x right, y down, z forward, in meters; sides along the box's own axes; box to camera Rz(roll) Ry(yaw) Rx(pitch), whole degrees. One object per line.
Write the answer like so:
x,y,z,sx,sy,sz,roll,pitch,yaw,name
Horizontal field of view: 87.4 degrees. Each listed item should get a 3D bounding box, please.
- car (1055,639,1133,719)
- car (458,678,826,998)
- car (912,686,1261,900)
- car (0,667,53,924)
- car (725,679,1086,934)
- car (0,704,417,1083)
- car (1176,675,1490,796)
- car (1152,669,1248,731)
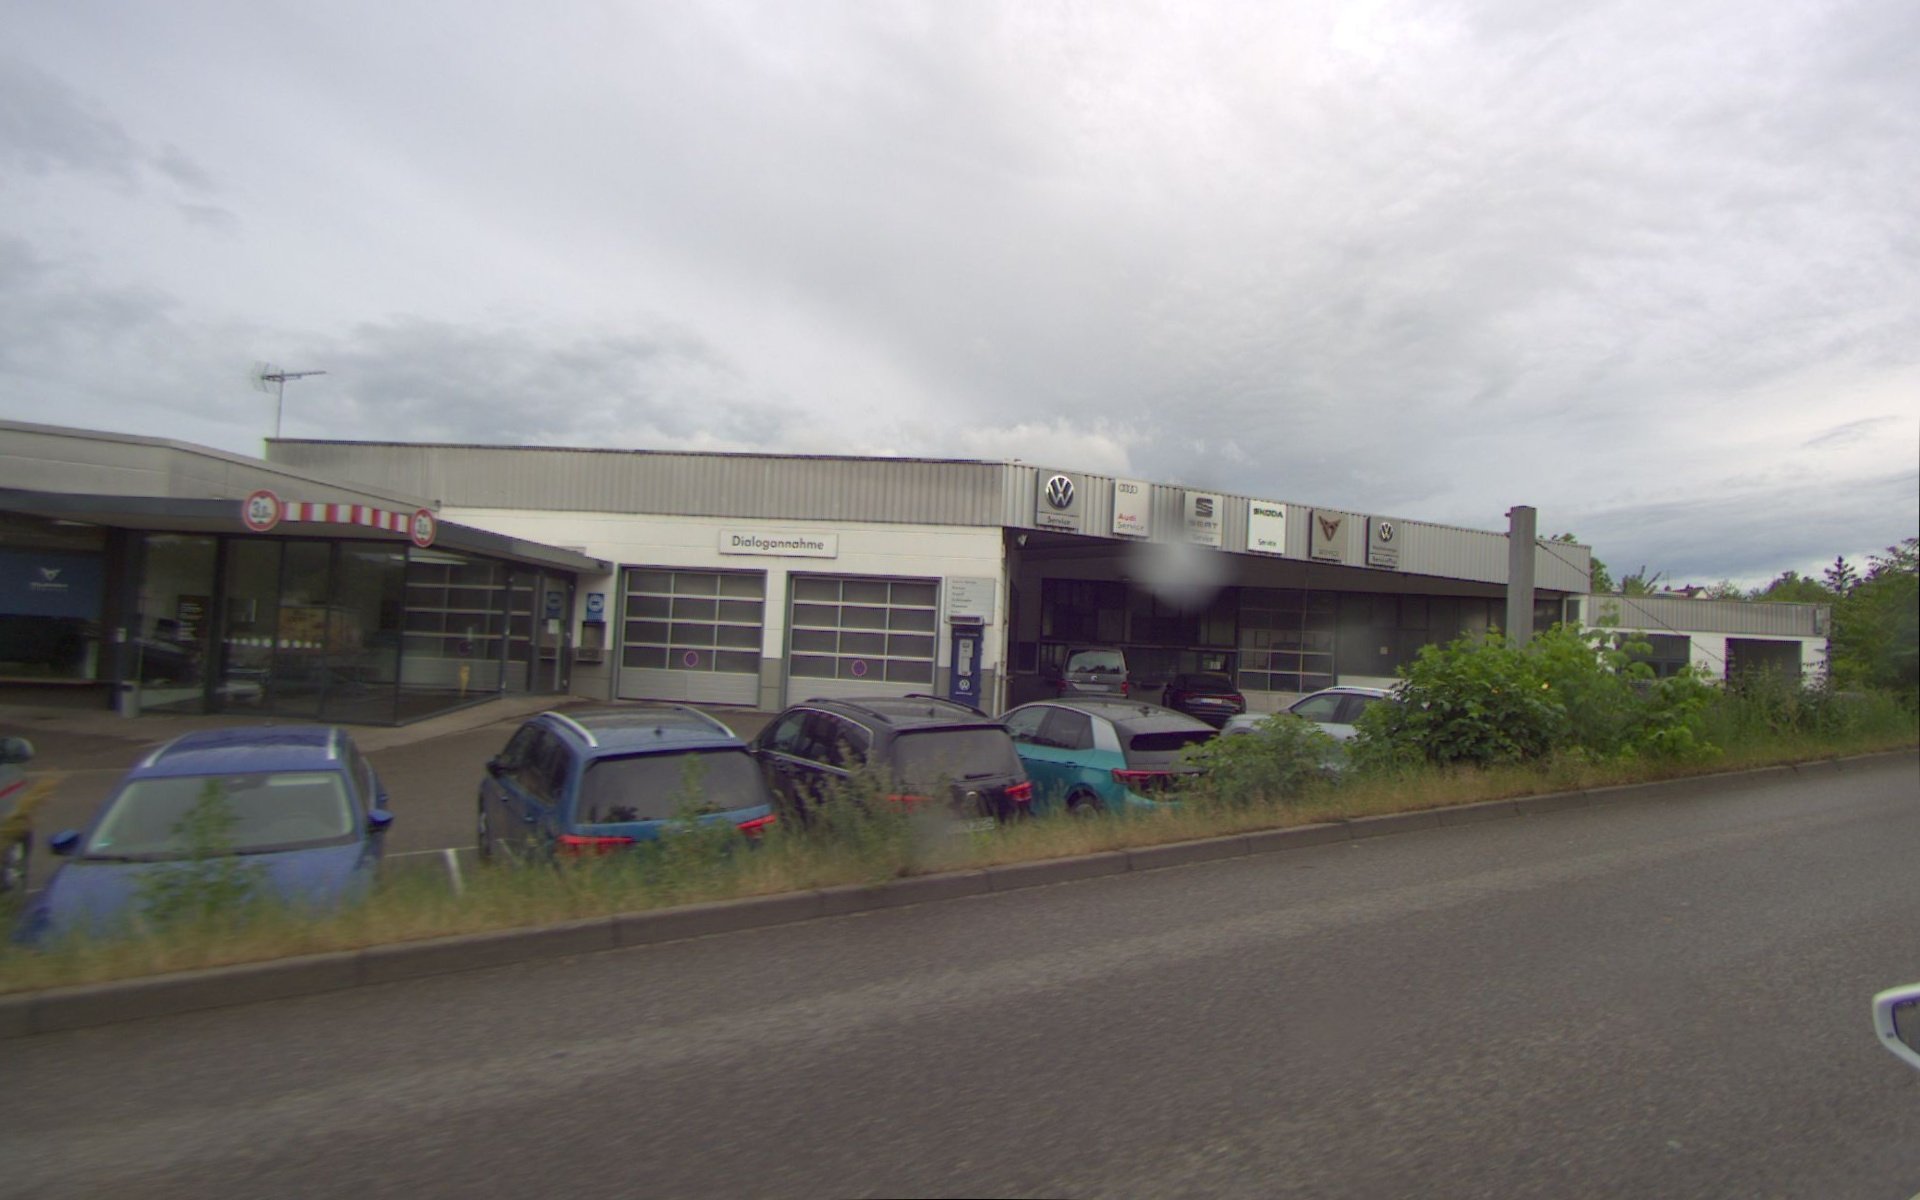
3.613,2.180,27.712,1.948,1.985,4.490,0,-4,5,car
-2.995,1.681,8.727,1.981,1.821,4.388,1,-3,-33,car
1.275,2.034,11.869,1.855,1.821,4.202,1,-3,-33,car
-7.247,1.375,5.937,1.912,1.821,4.391,1,-3,-31,car
-0.777,1.805,10.216,1.855,1.821,4.202,1,-3,-33,car
-5.443,1.824,7.798,1.979,1.717,4.391,1,-3,-31,car
5.444,1.913,15.192,1.855,1.386,4.202,1,-3,-33,car
6.443,2.654,27.351,1.914,1.434,4.025,0,-2,4,car
